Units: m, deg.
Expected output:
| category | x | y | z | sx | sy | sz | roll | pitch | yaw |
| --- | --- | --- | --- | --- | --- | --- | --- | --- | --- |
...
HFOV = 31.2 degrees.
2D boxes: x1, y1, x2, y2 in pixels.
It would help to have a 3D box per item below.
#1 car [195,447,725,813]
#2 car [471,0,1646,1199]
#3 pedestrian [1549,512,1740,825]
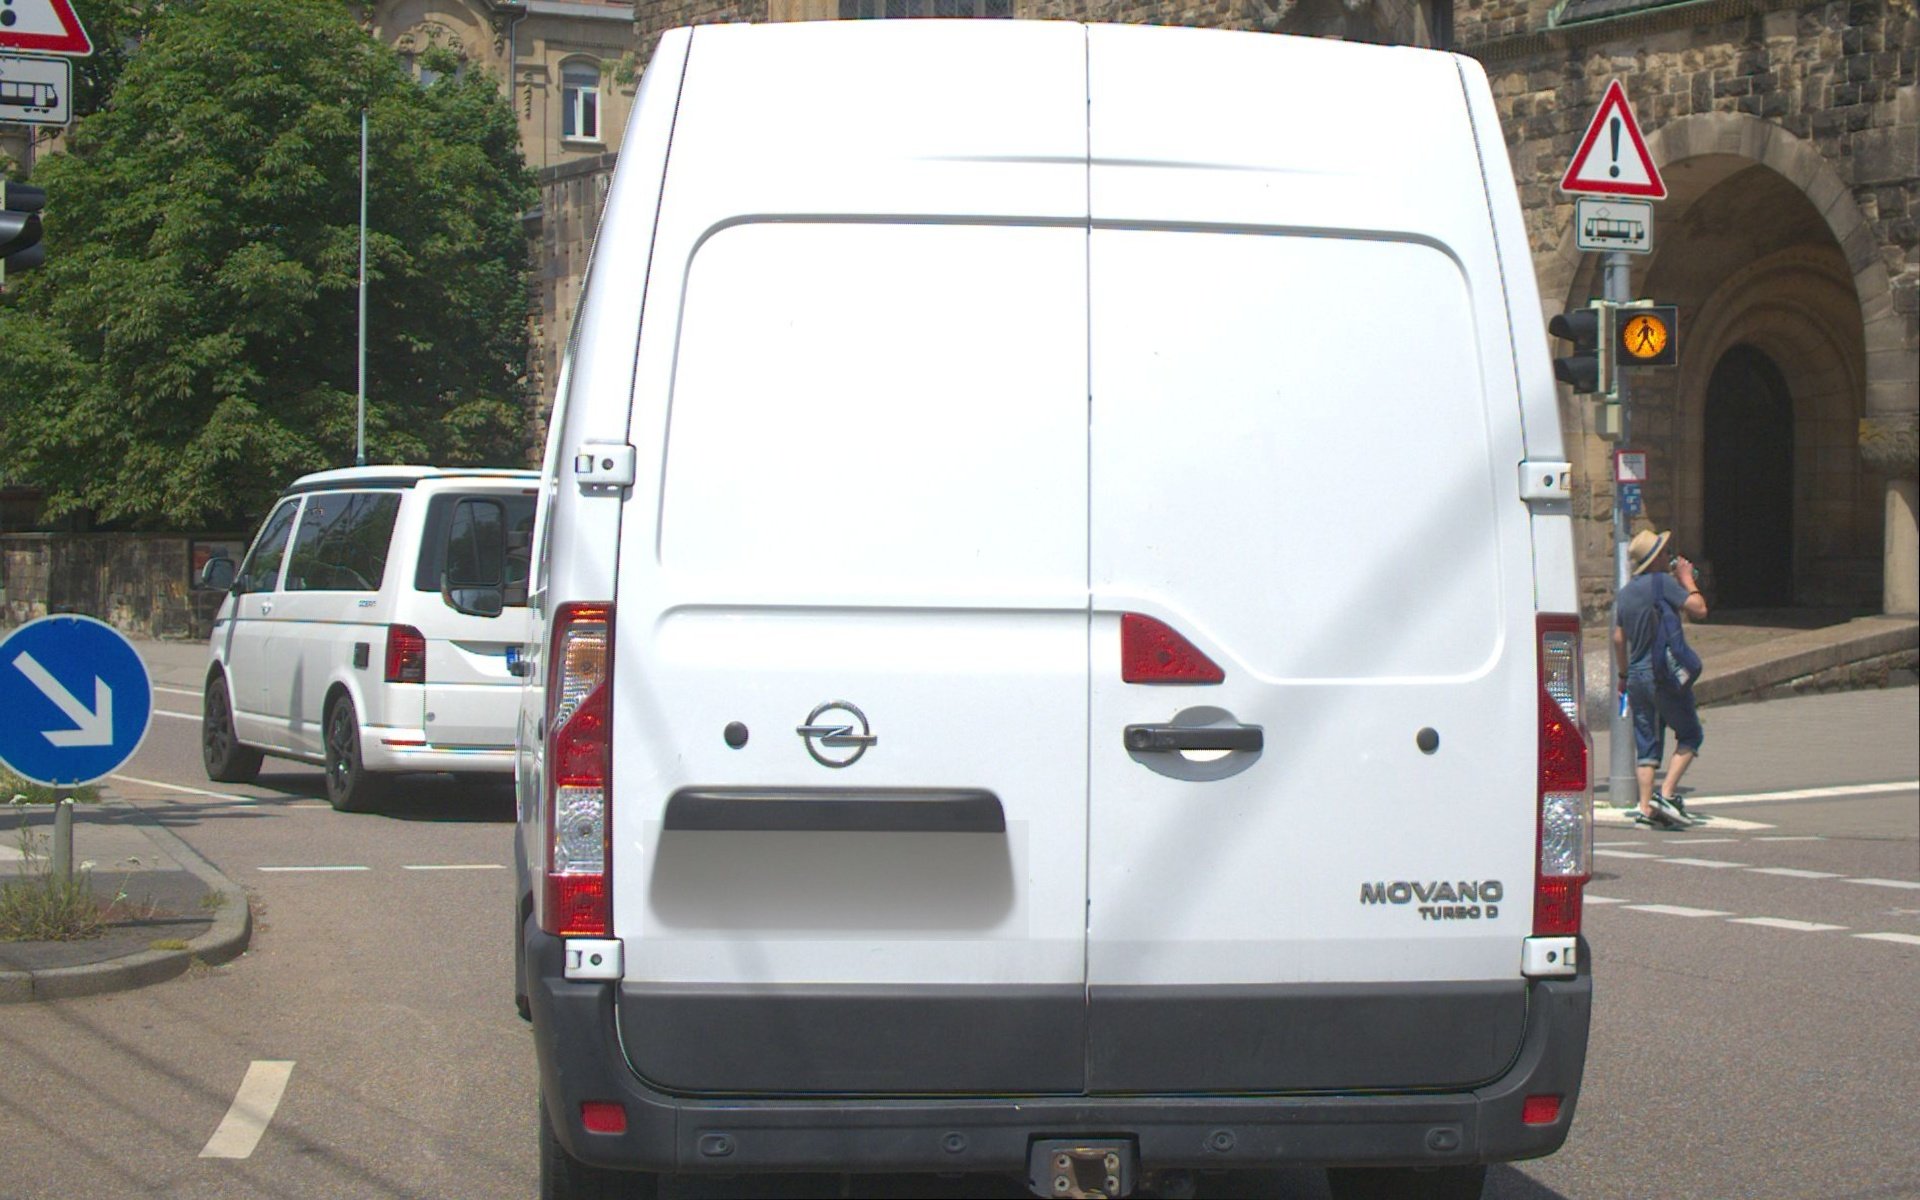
| category | x | y | z | sx | sy | sz | roll | pitch | yaw |
| --- | --- | --- | --- | --- | --- | --- | --- | --- | --- |
| car | -3.102 | 0.128 | 20.516 | 1.916 | 1.937 | 4.265 | 1 | 1 | -26 |
| car | -0.145 | 0.053 | 8.709 | 2.116 | 2.450 | 5.055 | 1 | 1 | -8 |
| pedestrian | 4.068 | 0.394 | 20.466 | 0.742 | 1.816 | 0.833 | 1 | 1 | -23 |
